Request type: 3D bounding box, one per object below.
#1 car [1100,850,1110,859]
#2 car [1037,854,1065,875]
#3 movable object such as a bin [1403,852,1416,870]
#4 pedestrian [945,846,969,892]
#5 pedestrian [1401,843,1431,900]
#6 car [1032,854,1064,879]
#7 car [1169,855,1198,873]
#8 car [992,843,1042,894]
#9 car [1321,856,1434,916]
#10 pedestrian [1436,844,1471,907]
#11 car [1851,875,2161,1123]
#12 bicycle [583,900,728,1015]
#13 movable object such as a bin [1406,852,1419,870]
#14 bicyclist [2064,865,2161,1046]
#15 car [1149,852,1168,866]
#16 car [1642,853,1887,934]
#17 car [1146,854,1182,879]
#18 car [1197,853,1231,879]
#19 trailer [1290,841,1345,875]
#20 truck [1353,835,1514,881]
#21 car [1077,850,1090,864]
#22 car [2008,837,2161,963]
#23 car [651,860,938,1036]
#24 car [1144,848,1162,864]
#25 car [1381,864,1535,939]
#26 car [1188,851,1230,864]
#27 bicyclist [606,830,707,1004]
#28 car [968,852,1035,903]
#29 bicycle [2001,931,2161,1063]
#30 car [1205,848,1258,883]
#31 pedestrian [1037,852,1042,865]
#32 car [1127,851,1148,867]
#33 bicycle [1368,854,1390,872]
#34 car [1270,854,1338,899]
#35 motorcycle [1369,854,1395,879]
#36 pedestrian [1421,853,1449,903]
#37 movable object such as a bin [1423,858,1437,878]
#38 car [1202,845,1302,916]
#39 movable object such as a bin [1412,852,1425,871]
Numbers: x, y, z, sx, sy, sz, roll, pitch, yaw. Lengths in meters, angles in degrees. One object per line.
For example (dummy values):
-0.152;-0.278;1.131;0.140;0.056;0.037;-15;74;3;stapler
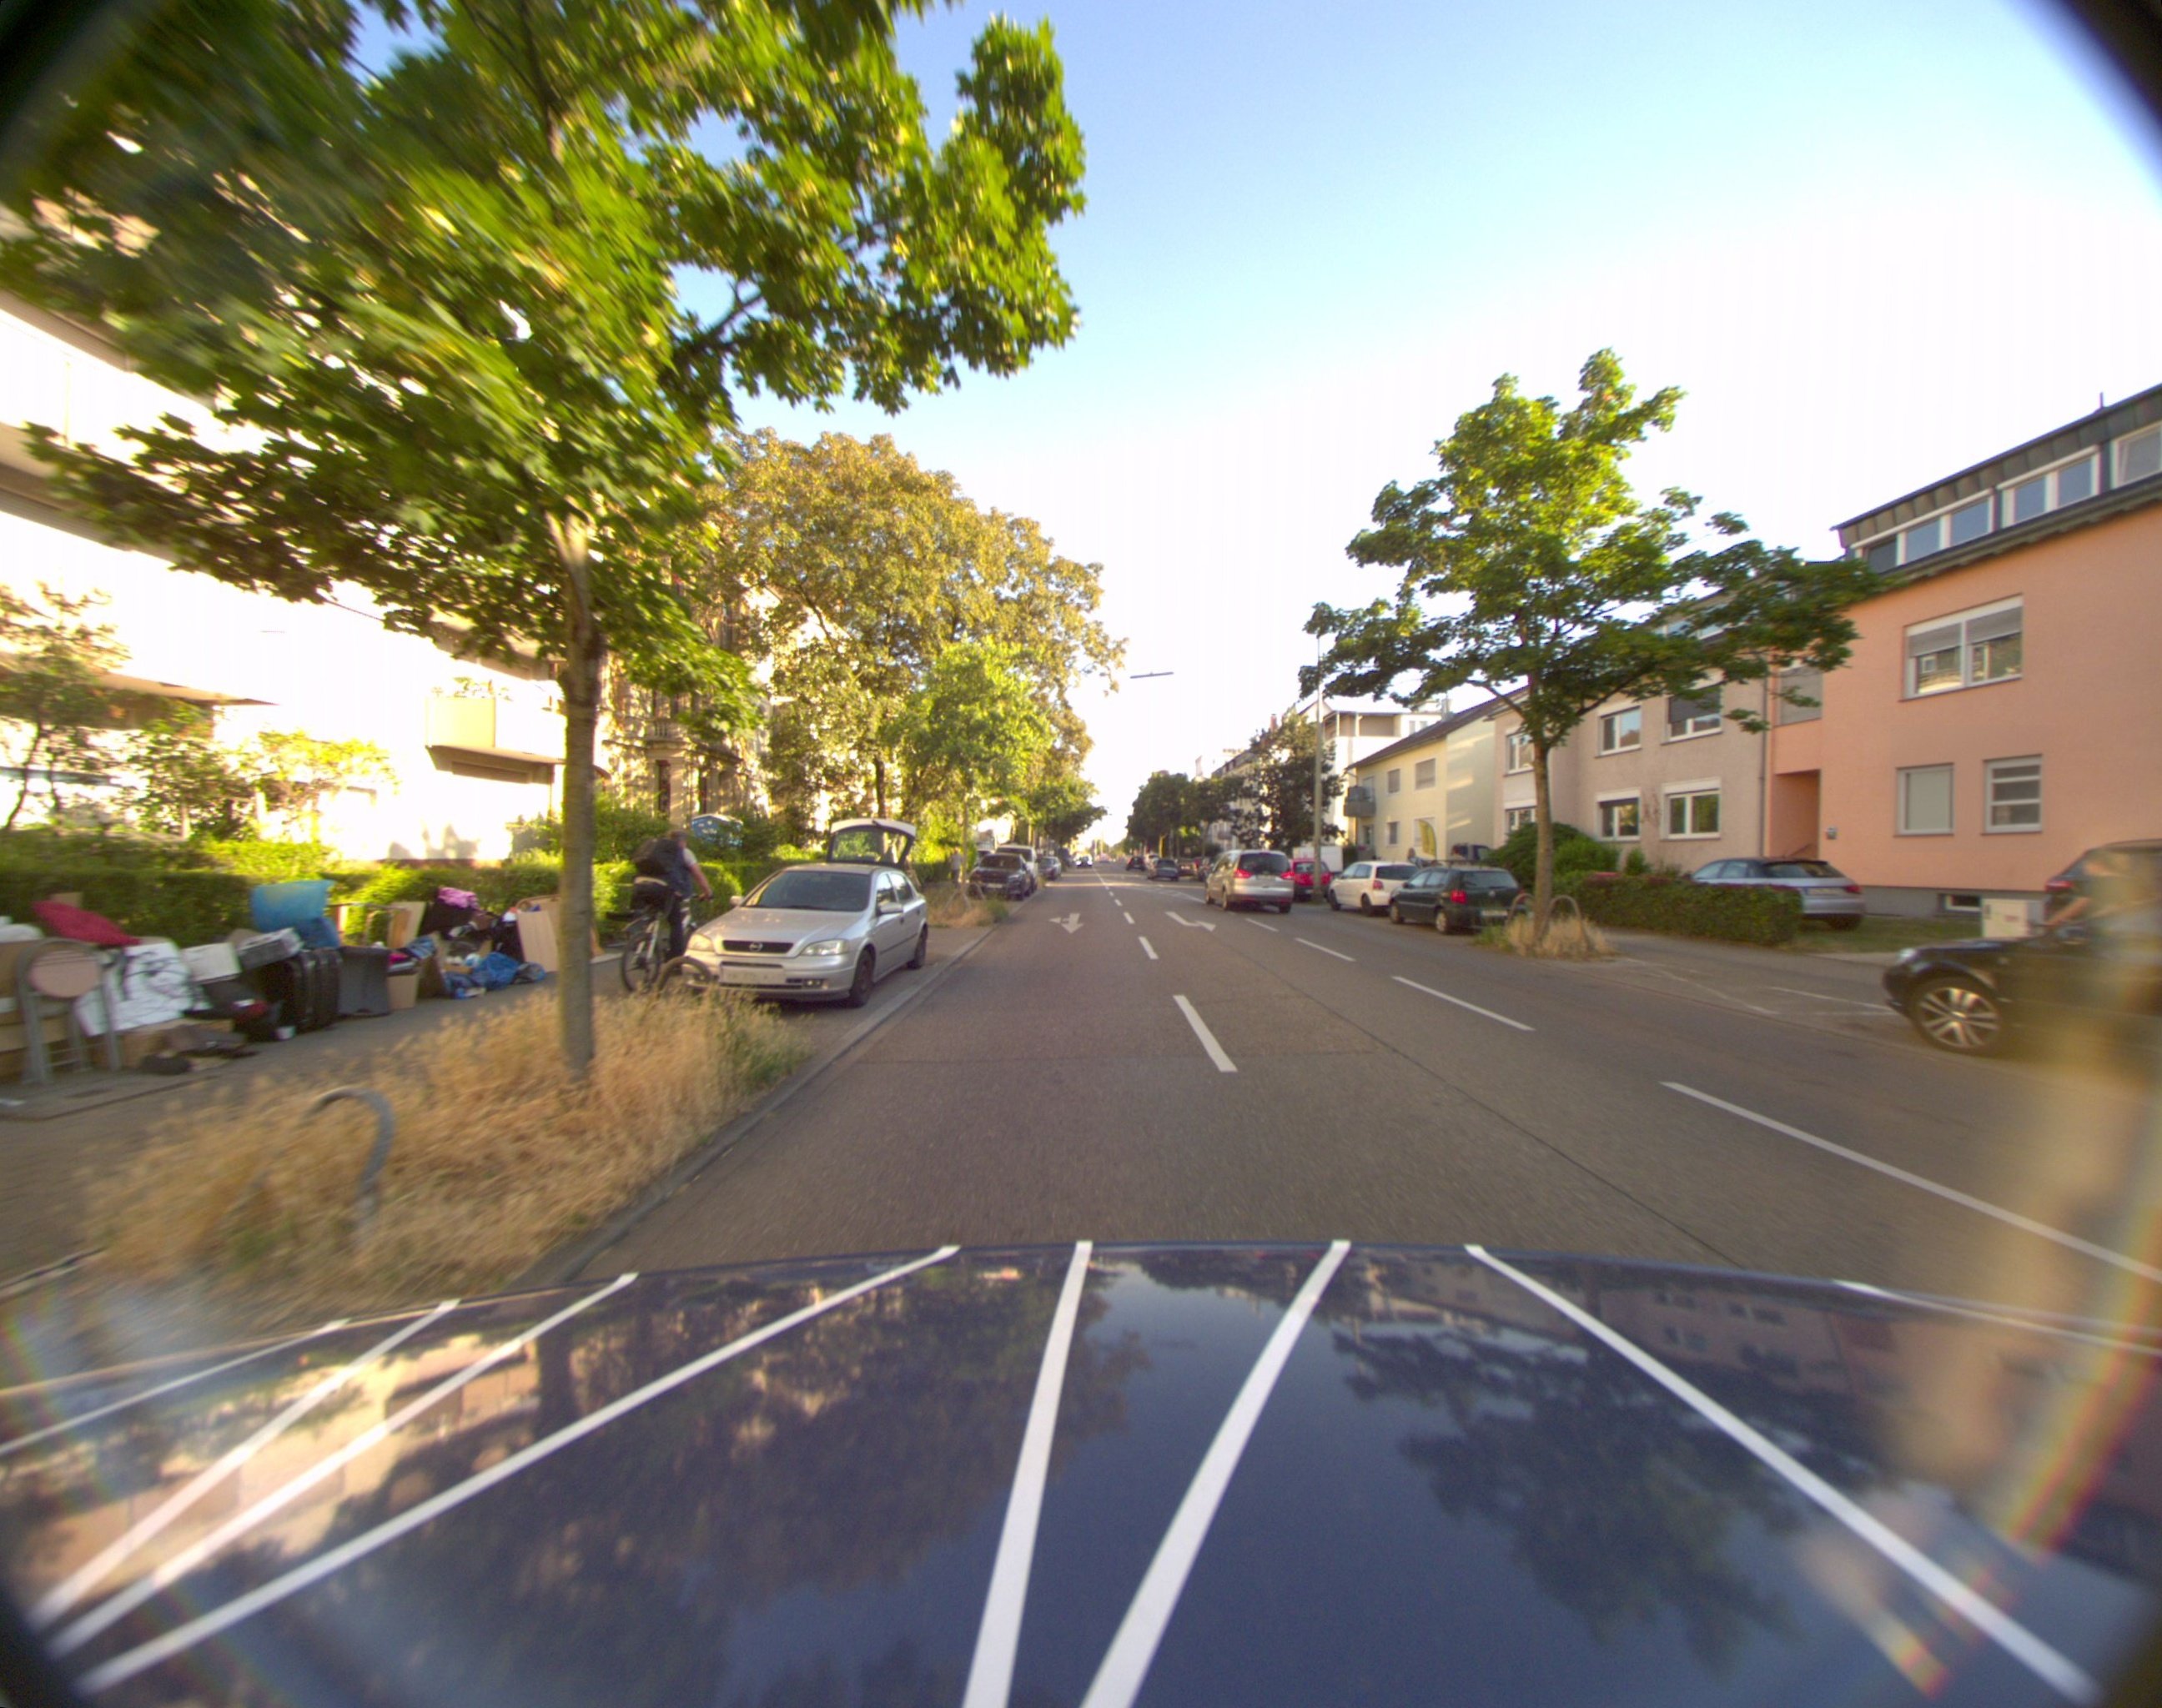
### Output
4.988;0.070;156.995;1.893;1.793;4.430;2;0;-1;car
-2.219;0.730;57.043;1.826;1.469;4.621;0;0;1;car
18.296;0.390;42.309;0.504;1.013;0.450;1;1;0;movable object such as a bin
-4.818;0.565;29.503;0.823;1.763;1.089;0;1;-4;pedestrian
10.696;0.559;24.277;0.715;1.782;0.506;0;1;3;pedestrian
-2.024;0.773;48.155;1.761;1.412;4.614;2;0;0;car
8.056;0.763;59.882;1.641;1.399;4.443;0;0;0;car
-2.703;0.579;33.033;1.908;2.091;4.640;0;0;-1;car
8.212;0.827;21.408;1.597;1.514;3.890;0;0;-1;car
10.692;0.617;21.807;0.715;1.782;0.572;0;1;3;pedestrian
7.899;0.972;4.629;1.872;1.486;4.517;-1;0;1;car
-4.515;1.052;8.220;0.517;0.981;1.831;0;0;1;bicycle
18.312;0.391;41.985;0.504;1.013;0.450;1;1;0;movable object such as a bin
9.986;0.940;7.247;0.470;1.653;0.552;0;1;0;bicyclist
8.507;0.513;83.364;1.740;1.455;3.636;0;0;0;car
13.613;0.709;15.481;1.668;1.401;3.753;1;0;2;car
5.292;0.745;49.028;1.765;1.443;4.533;2;0;-1;car
8.239;0.723;47.179;1.577;1.546;2.749;0;0;-1;car
14.195;0.251;45.601;2.780;2.002;1.552;0;1;-2;trailer
17.347;0.191;37.648;6.912;2.172;2.276;0;1;0;truck
0.317;0.376;95.559;1.596;1.696;4.000;0;0;0;car
16.364;0.568;10.809;3.996;1.626;1.866;-2;1;1;car
-2.965;0.858;8.934;1.712;1.472;4.268;2;0;0;car
8.568;0.229;90.295;1.740;1.799;4.191;0;0;0;car
8.008;0.942;16.513;1.547;1.388;3.665;0;0;0;car
14.921;0.397;88.662;4.564;1.397;1.739;-2;1;-10;car
-4.531;0.642;8.161;0.582;1.778;0.852;0;1;1;bicyclist
-2.756;0.769;27.103;1.860;1.594;4.311;3;0;0;car
9.966;1.347;7.249;0.487;1.058;1.534;0;1;0;bicycle
8.154;0.588;41.582;1.892;1.769;4.725;0;0;-1;car
-5.358;0.597;98.697;0.619;1.761;0.562;0;0;1;pedestrian
5.854;0.497;78.675;1.840;1.561;3.999;2;1;0;car
18.603;0.539;47.473;0.520;1.057;2.046;0;0;0;bicycle
7.924;0.756;27.289;1.596;1.514;3.437;0;0;3;car
17.308;0.712;43.765;0.572;1.366;2.258;0;0;0;motorcycle
10.713;0.715;23.019;0.591;1.487;0.542;0;1;3;pedestrian
18.243;0.728;39.681;0.504;1.013;0.450;1;1;0;movable object such as a bin
4.858;0.686;22.282;1.810;1.794;4.745;2;0;0;car
18.364;0.392;41.310;0.504;1.013;0.450;1;1;0;movable object such as a bin
